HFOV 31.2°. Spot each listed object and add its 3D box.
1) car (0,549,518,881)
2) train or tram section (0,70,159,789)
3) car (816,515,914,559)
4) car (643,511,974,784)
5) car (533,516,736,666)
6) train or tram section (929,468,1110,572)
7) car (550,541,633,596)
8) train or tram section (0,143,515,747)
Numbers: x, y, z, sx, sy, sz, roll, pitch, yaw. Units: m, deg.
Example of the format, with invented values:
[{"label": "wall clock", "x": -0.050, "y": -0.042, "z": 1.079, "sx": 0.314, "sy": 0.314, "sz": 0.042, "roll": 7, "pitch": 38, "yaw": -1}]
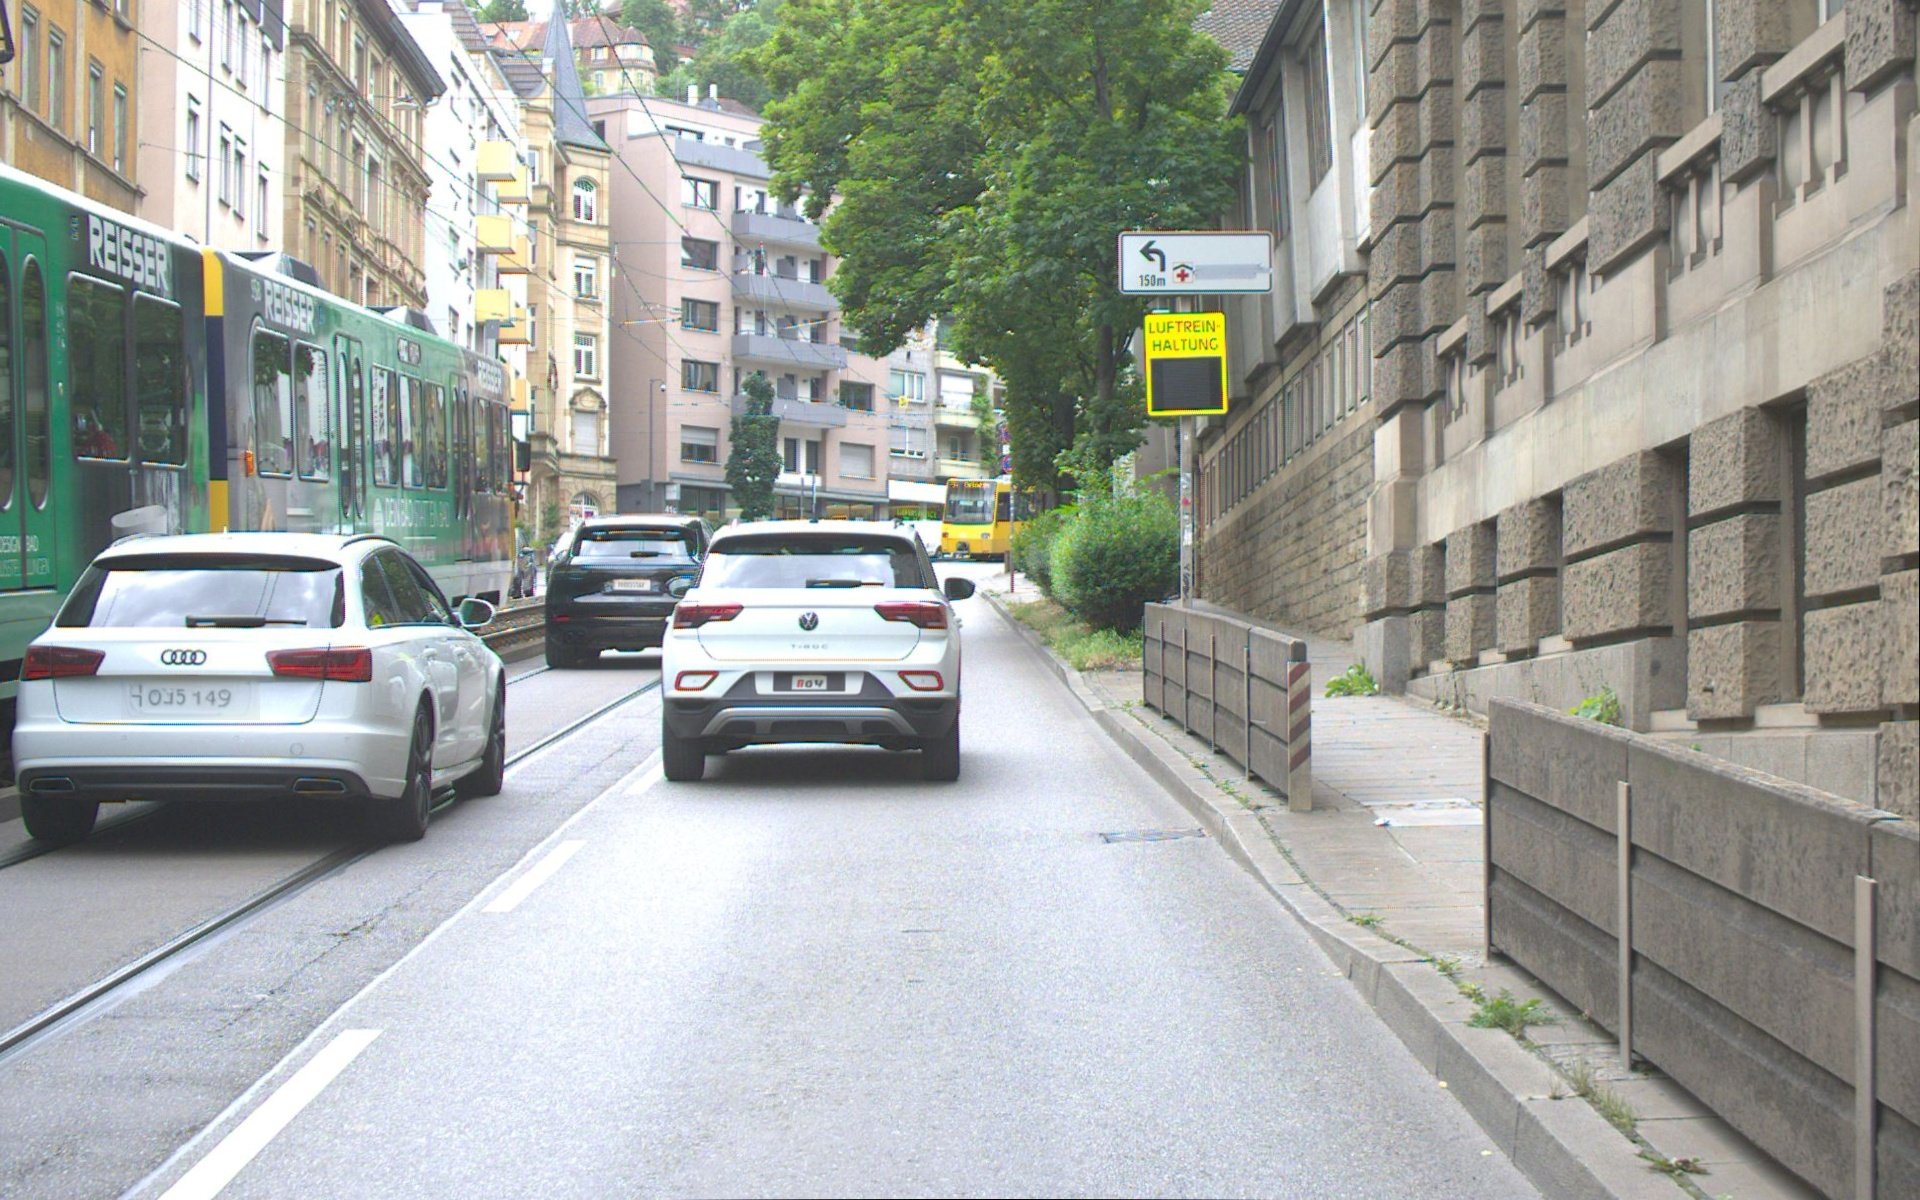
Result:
[{"label": "car", "x": -3.449, "y": 0.475, "z": 17.356, "sx": 1.879, "sy": 1.450, "sz": 4.617, "roll": 0, "pitch": 1, "yaw": -1}, {"label": "train or tram section", "x": -6.346, "y": -0.769, "z": 11.894, "sx": 2.876, "sy": 3.713, "sz": 18.758, "roll": 2, "pitch": 1, "yaw": -1}, {"label": "car", "x": -4.417, "y": -2.942, "z": 160.327, "sx": 1.998, "sy": 2.028, "sz": 4.691, "roll": 1, "pitch": 1, "yaw": 38}, {"label": "car", "x": -0.910, "y": 0.222, "z": 21.580, "sx": 1.879, "sy": 1.549, "sz": 4.001, "roll": 0, "pitch": 1, "yaw": -1}, {"label": "car", "x": -3.576, "y": -0.148, "z": 38.417, "sx": 2.038, "sy": 1.566, "sz": 4.359, "roll": 0, "pitch": 1, "yaw": -2}, {"label": "train or tram section", "x": 2.823, "y": -3.472, "z": 149.821, "sx": 3.019, "sy": 4.199, "sz": 18.845, "roll": 1, "pitch": 1, "yaw": 16}, {"label": "car", "x": -10.153, "y": -0.895, "z": 95.111, "sx": 1.843, "sy": 1.450, "sz": 4.661, "roll": 0, "pitch": 1, "yaw": -1}, {"label": "train or tram section", "x": -6.576, "y": -1.208, "z": 30.684, "sx": 2.876, "sy": 3.713, "sz": 18.758, "roll": 2, "pitch": 1, "yaw": -1}]
